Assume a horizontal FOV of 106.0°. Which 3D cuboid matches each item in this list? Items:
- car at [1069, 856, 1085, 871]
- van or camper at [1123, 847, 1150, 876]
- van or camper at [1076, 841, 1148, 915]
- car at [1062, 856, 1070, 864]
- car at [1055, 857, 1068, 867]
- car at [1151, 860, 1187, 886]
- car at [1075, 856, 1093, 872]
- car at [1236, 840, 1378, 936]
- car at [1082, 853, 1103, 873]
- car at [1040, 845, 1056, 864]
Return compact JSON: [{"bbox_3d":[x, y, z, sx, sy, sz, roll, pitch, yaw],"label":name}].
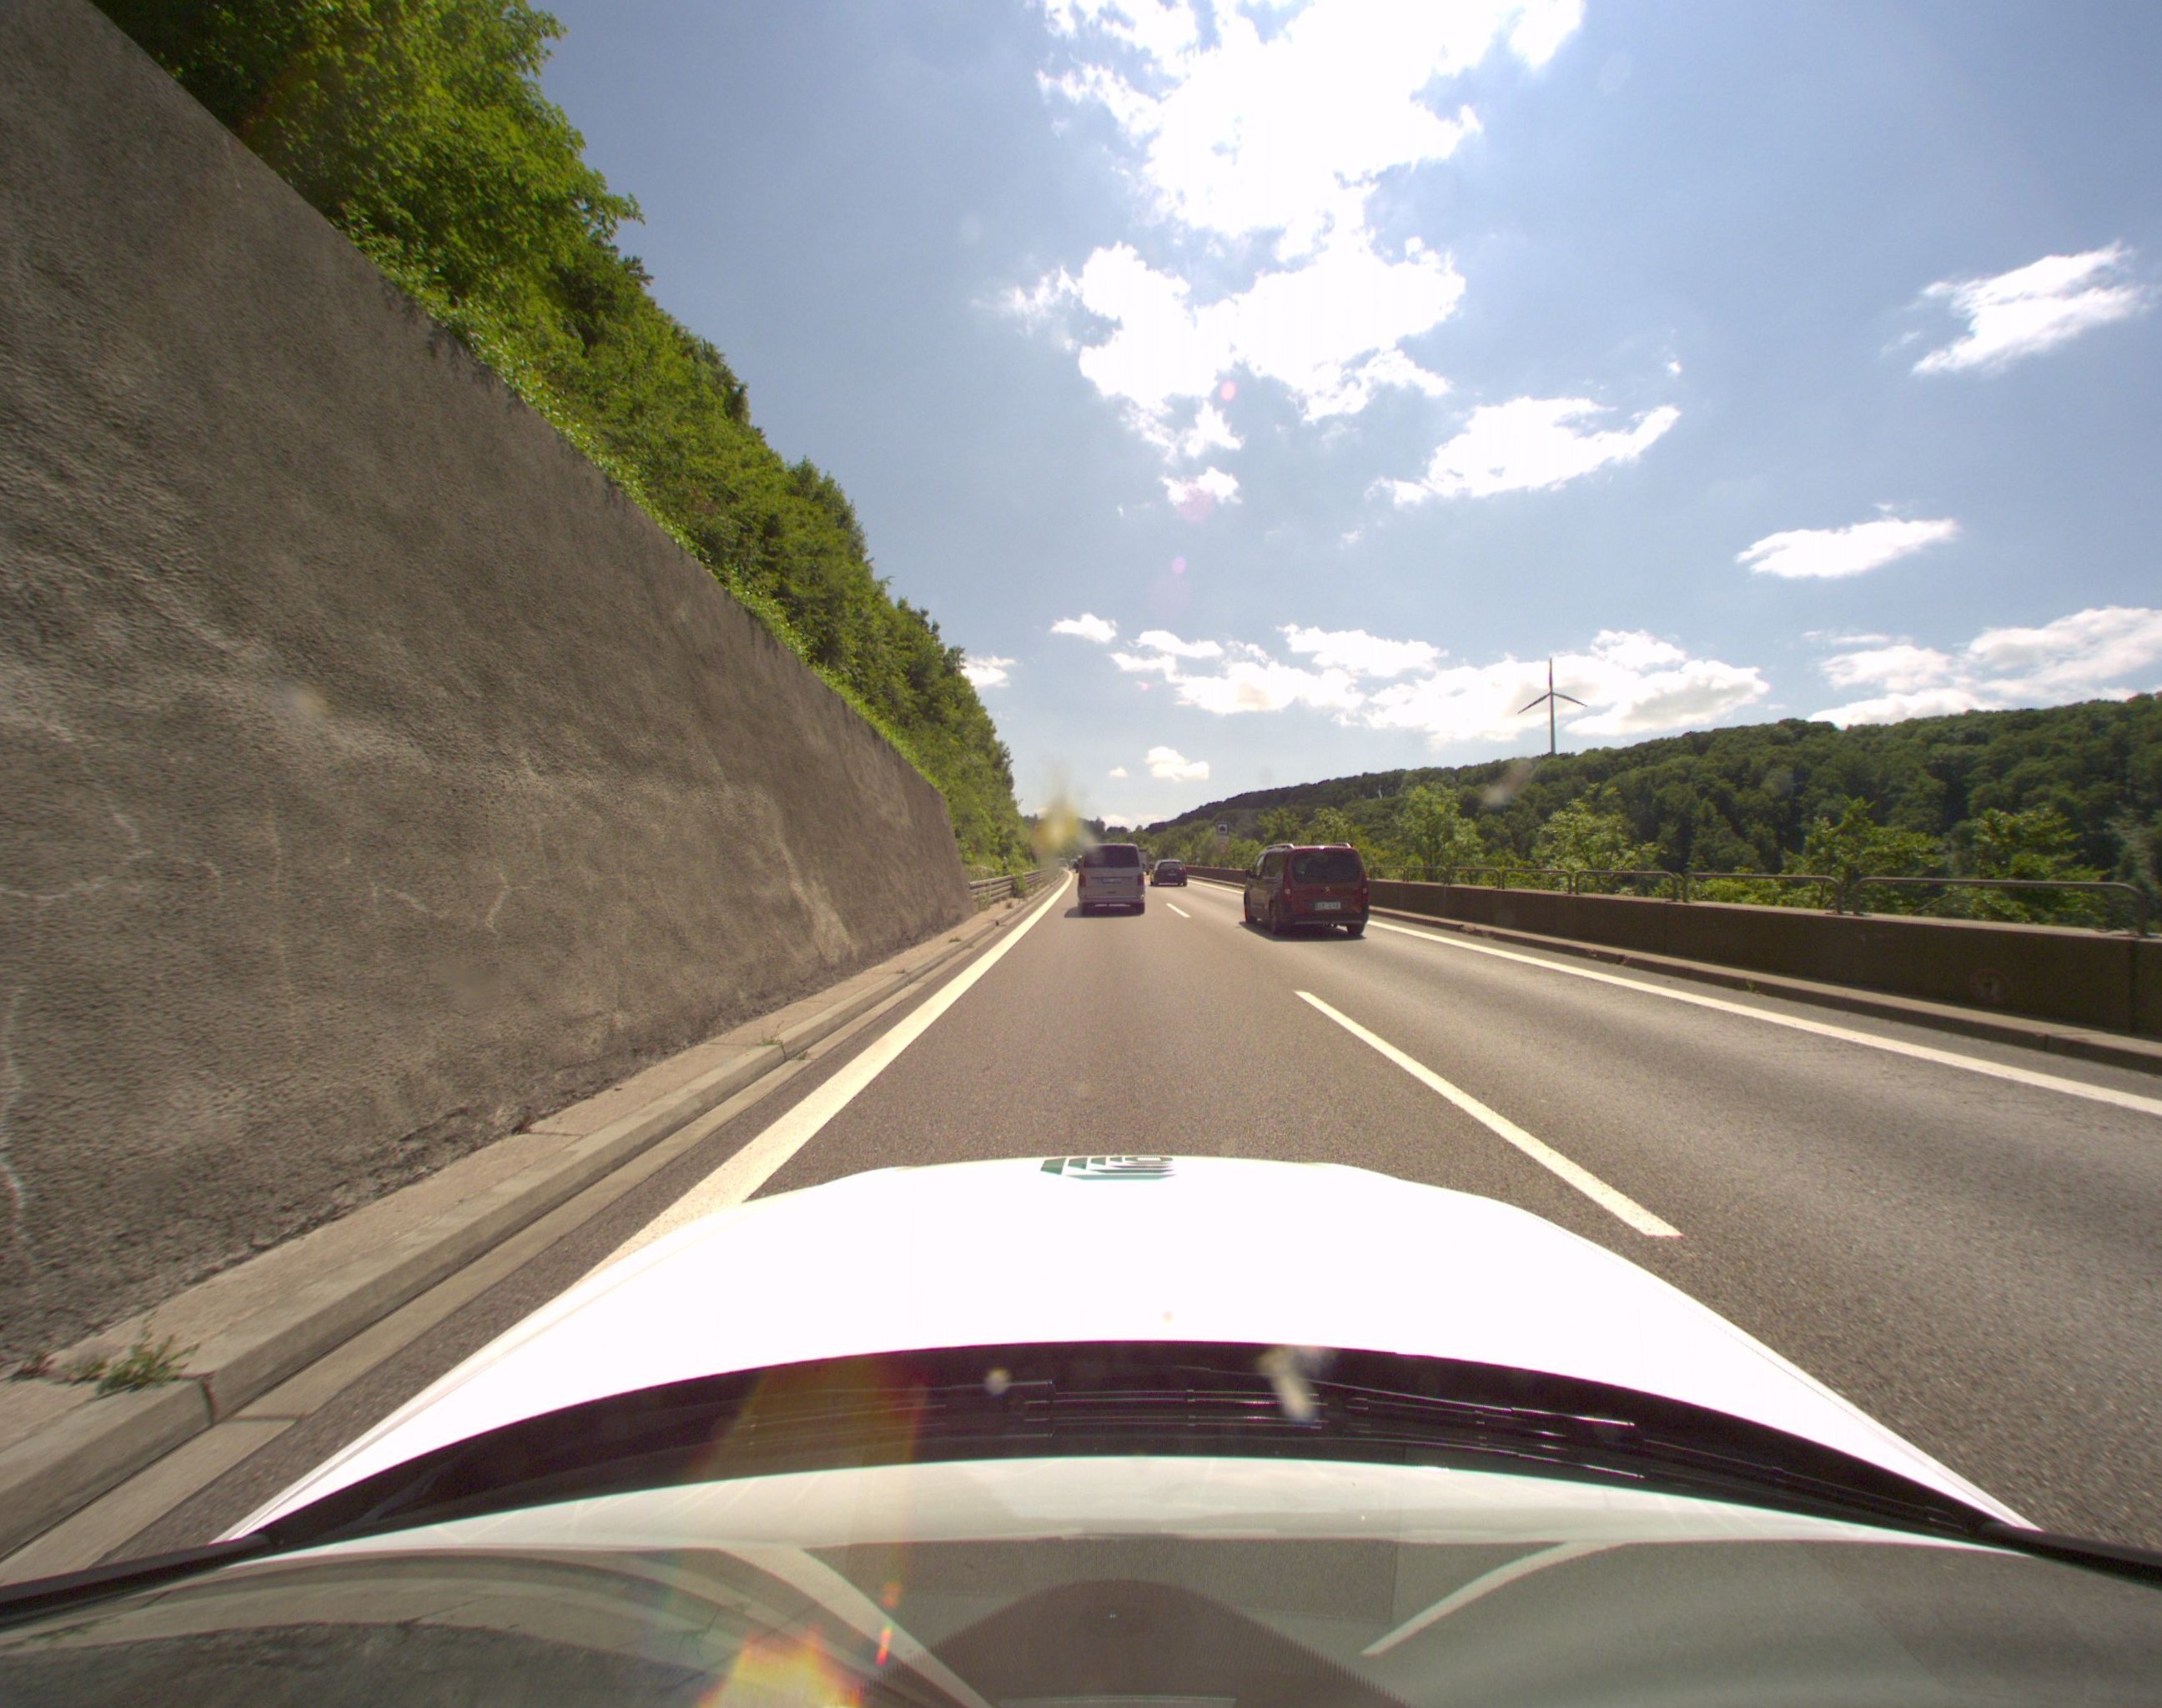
[{"bbox_3d":[-0.560,1.315,112.663,1.989,1.915,3.995,-1,0,-3],"label":"car"},{"bbox_3d":[5.104,0.692,75.404,2.256,2.551,4.737,-2,-1,1],"label":"van or camper"},{"bbox_3d":[0.860,0.662,23.987,1.869,1.949,4.294,-2,-1,1],"label":"van or camper"},{"bbox_3d":[-3.684,1.508,201.429,1.989,2.014,3.995,-1,0,-3],"label":"car"},{"bbox_3d":[-3.499,1.452,147.332,2.138,1.607,5.071,-2,-1,-3],"label":"car"},{"bbox_3d":[4.876,1.027,45.355,1.761,1.376,3.595,-1,0,3],"label":"car"},{"bbox_3d":[0.340,1.129,92.847,1.987,1.817,3.999,-1,0,-1],"label":"car"},{"bbox_3d":[4.737,0.675,17.816,1.827,1.784,4.676,-1,-1,1],"label":"car"},{"bbox_3d":[1.083,0.847,78.021,1.987,1.817,3.999,-1,0,-1],"label":"car"},{"bbox_3d":[-8.681,0.186,212.114,4.035,4.871,10.096,-1,0,-3],"label":"car"}]
